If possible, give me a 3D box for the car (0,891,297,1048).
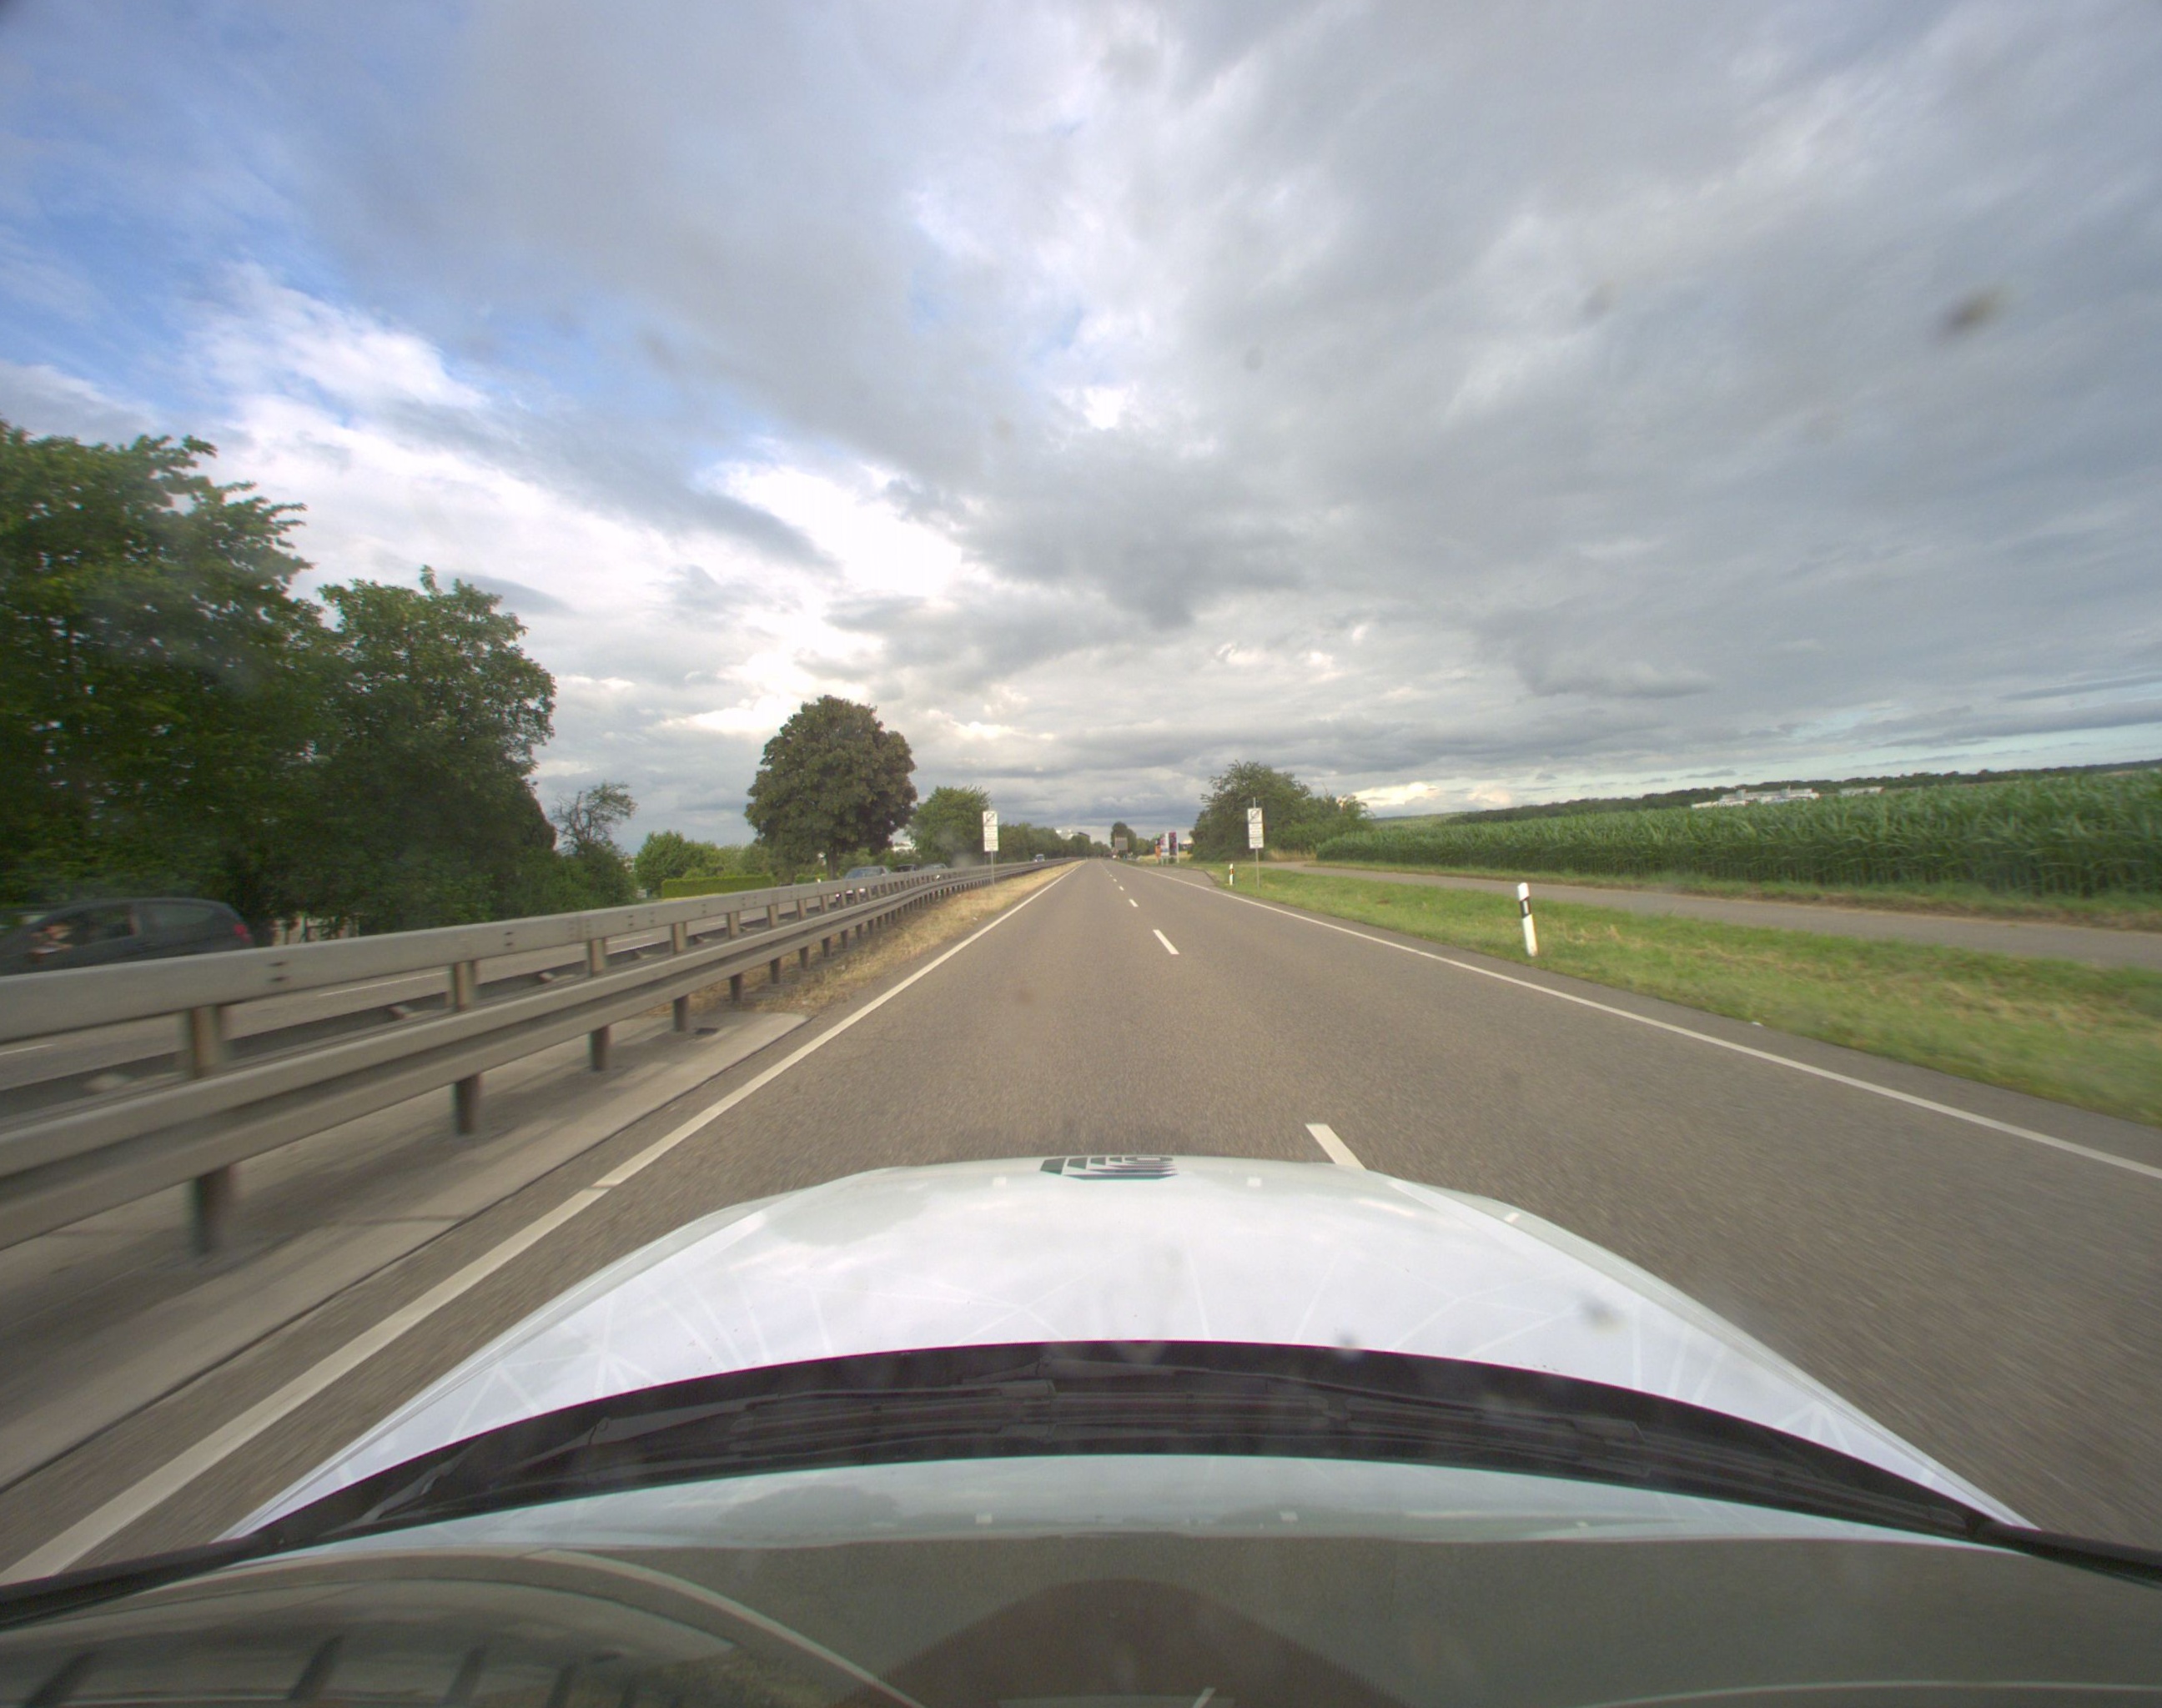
[{"bbox_3d":[-12.763,1.385,10.174,1.783,1.573,4.160,-3,0,1],"label":"car"}]

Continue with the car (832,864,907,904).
[{"bbox_3d":[-9.102,1.250,35.443,1.860,1.477,4.826,-3,0,1],"label":"car"}]

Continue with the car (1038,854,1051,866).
[{"bbox_3d":[-7.029,1.154,156.228,1.986,2.140,5.321,-4,0,2],"label":"car"}]

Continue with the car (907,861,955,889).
[{"bbox_3d":[-8.986,1.226,49.182,1.860,1.477,4.936,-3,0,1],"label":"car"}]

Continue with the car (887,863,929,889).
[{"bbox_3d":[-11.835,1.497,56.025,1.860,1.564,4.152,-3,0,1],"label":"car"}]
